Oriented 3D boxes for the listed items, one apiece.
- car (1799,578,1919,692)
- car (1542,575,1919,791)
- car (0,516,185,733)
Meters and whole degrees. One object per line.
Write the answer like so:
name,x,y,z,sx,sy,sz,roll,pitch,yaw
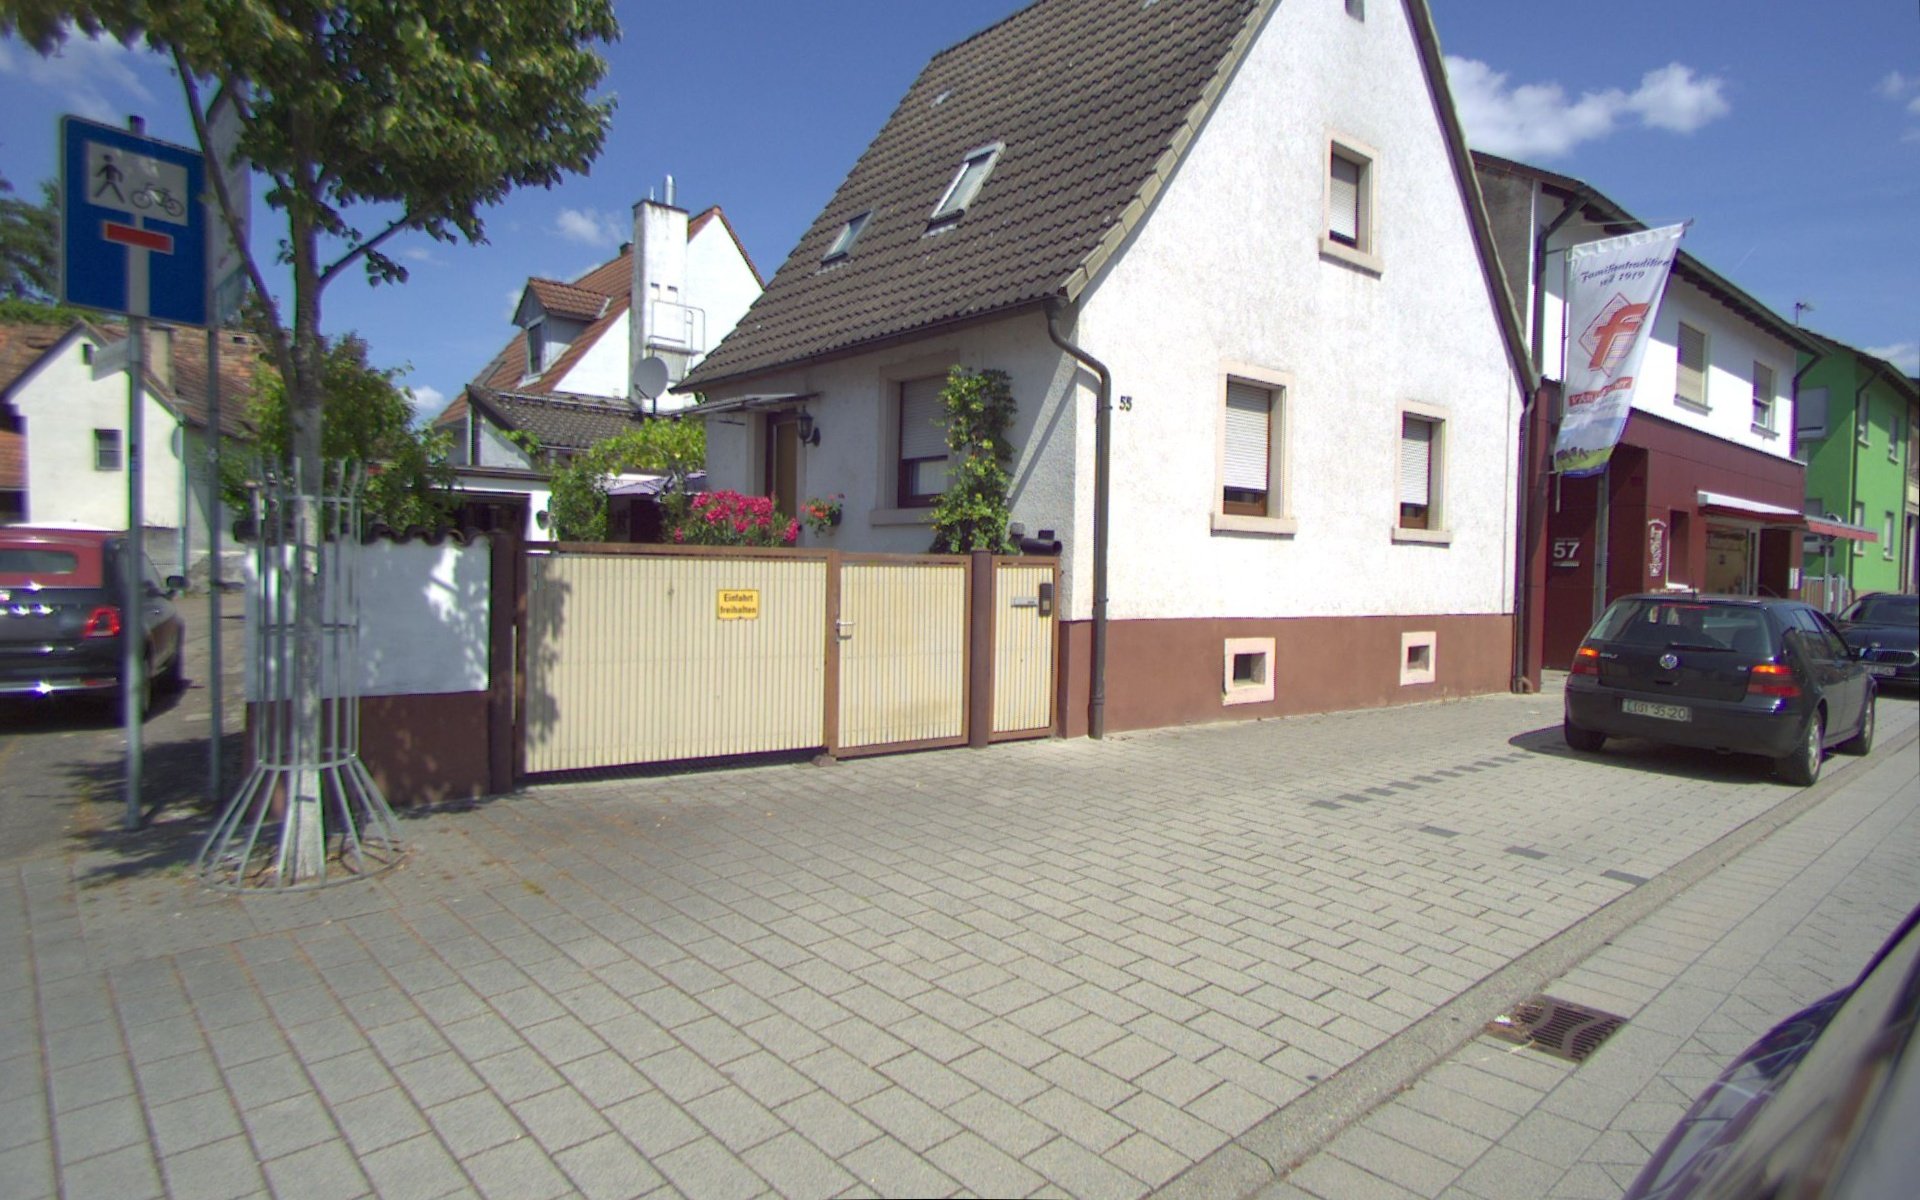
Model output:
car,14.692,0.473,15.448,4.501,1.476,1.864,0,4,-37
car,7.031,0.553,9.087,4.046,1.456,1.764,0,3,-39
car,-7.862,0.085,8.747,1.647,1.537,3.816,0,3,-35
